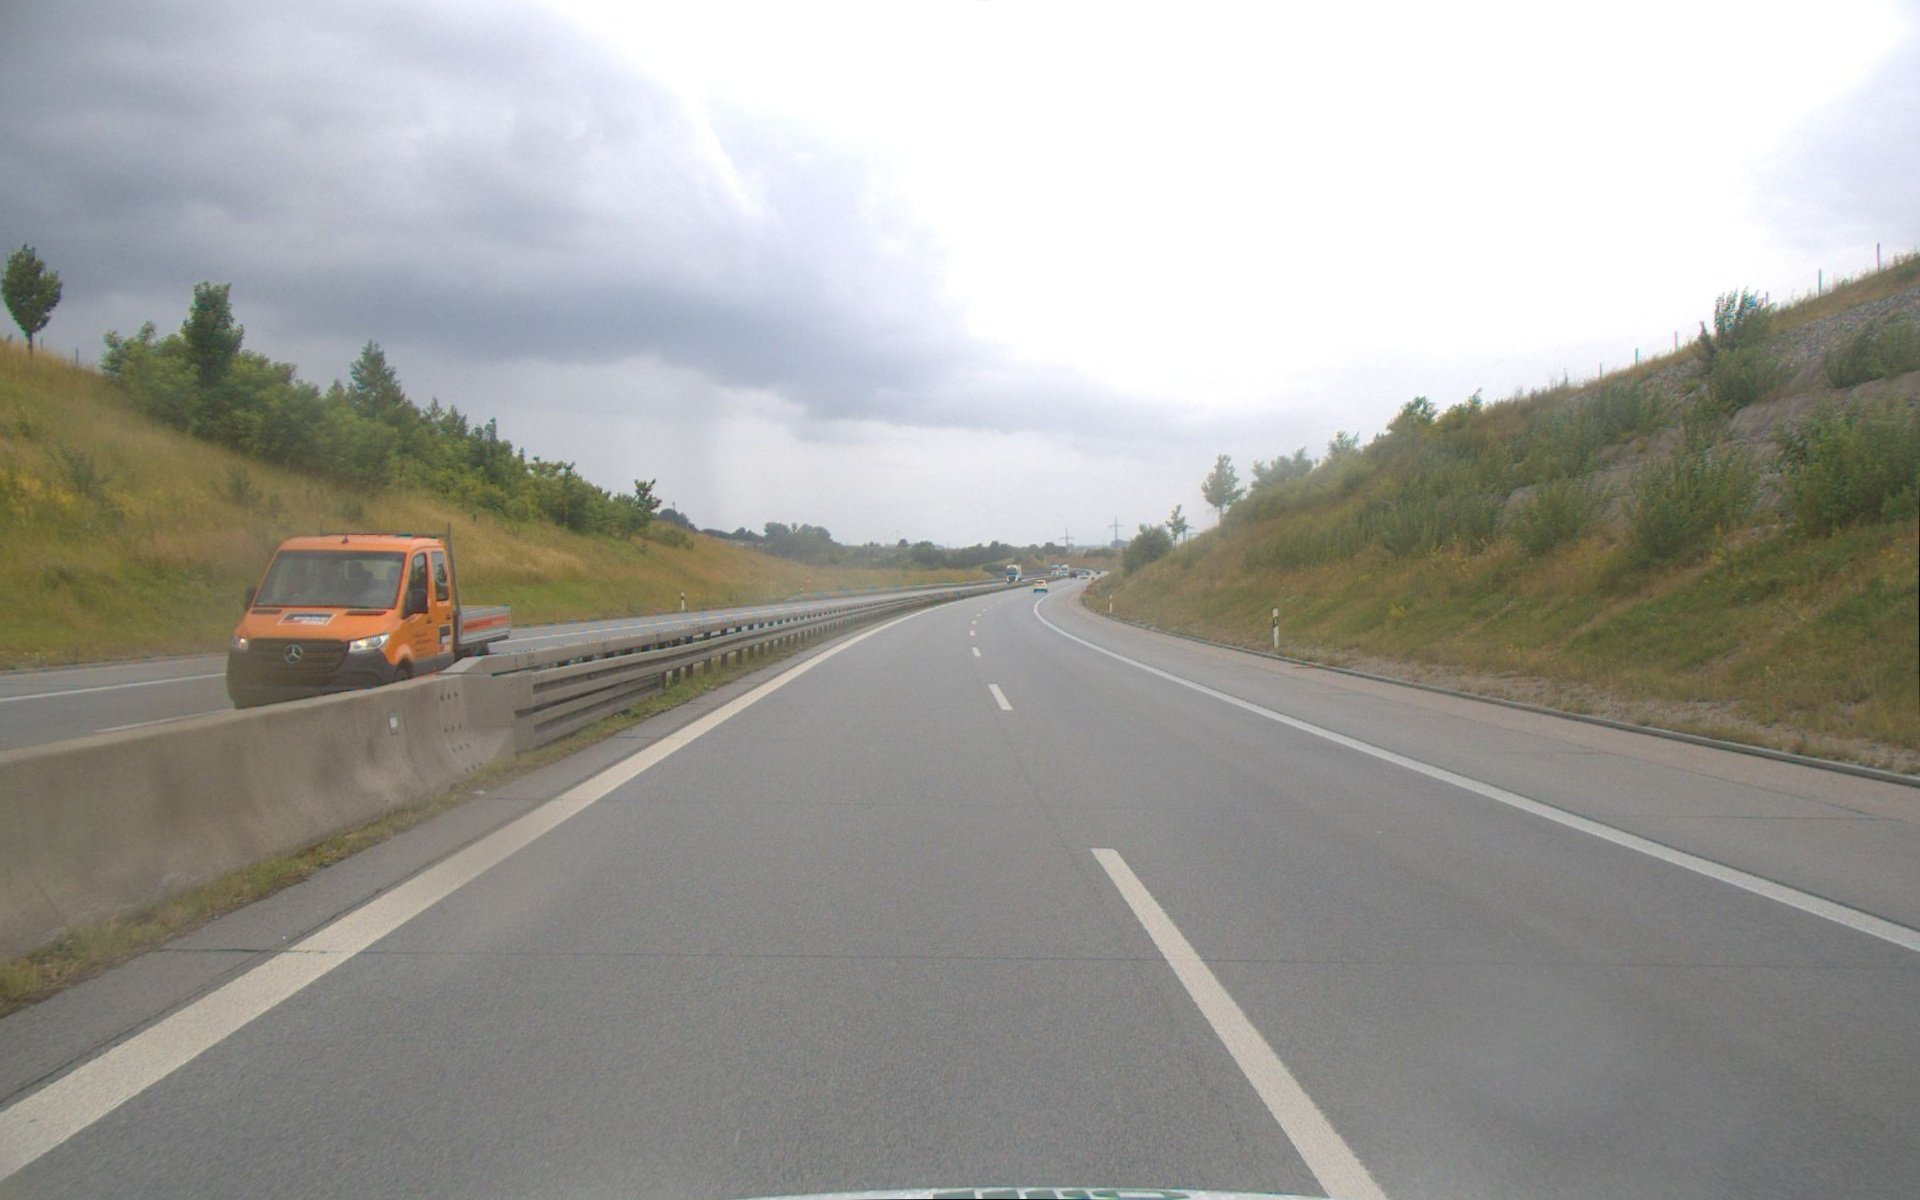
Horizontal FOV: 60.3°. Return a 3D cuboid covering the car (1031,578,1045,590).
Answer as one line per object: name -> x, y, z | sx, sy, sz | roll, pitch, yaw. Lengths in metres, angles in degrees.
car -> 10.779, -2.238, 228.435 | 1.915, 1.680, 4.002 | 0, 0, 5

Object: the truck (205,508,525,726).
truck -> -7.842, 0.175, 22.687 | 2.146, 2.553, 6.552 | 0, 0, -1
